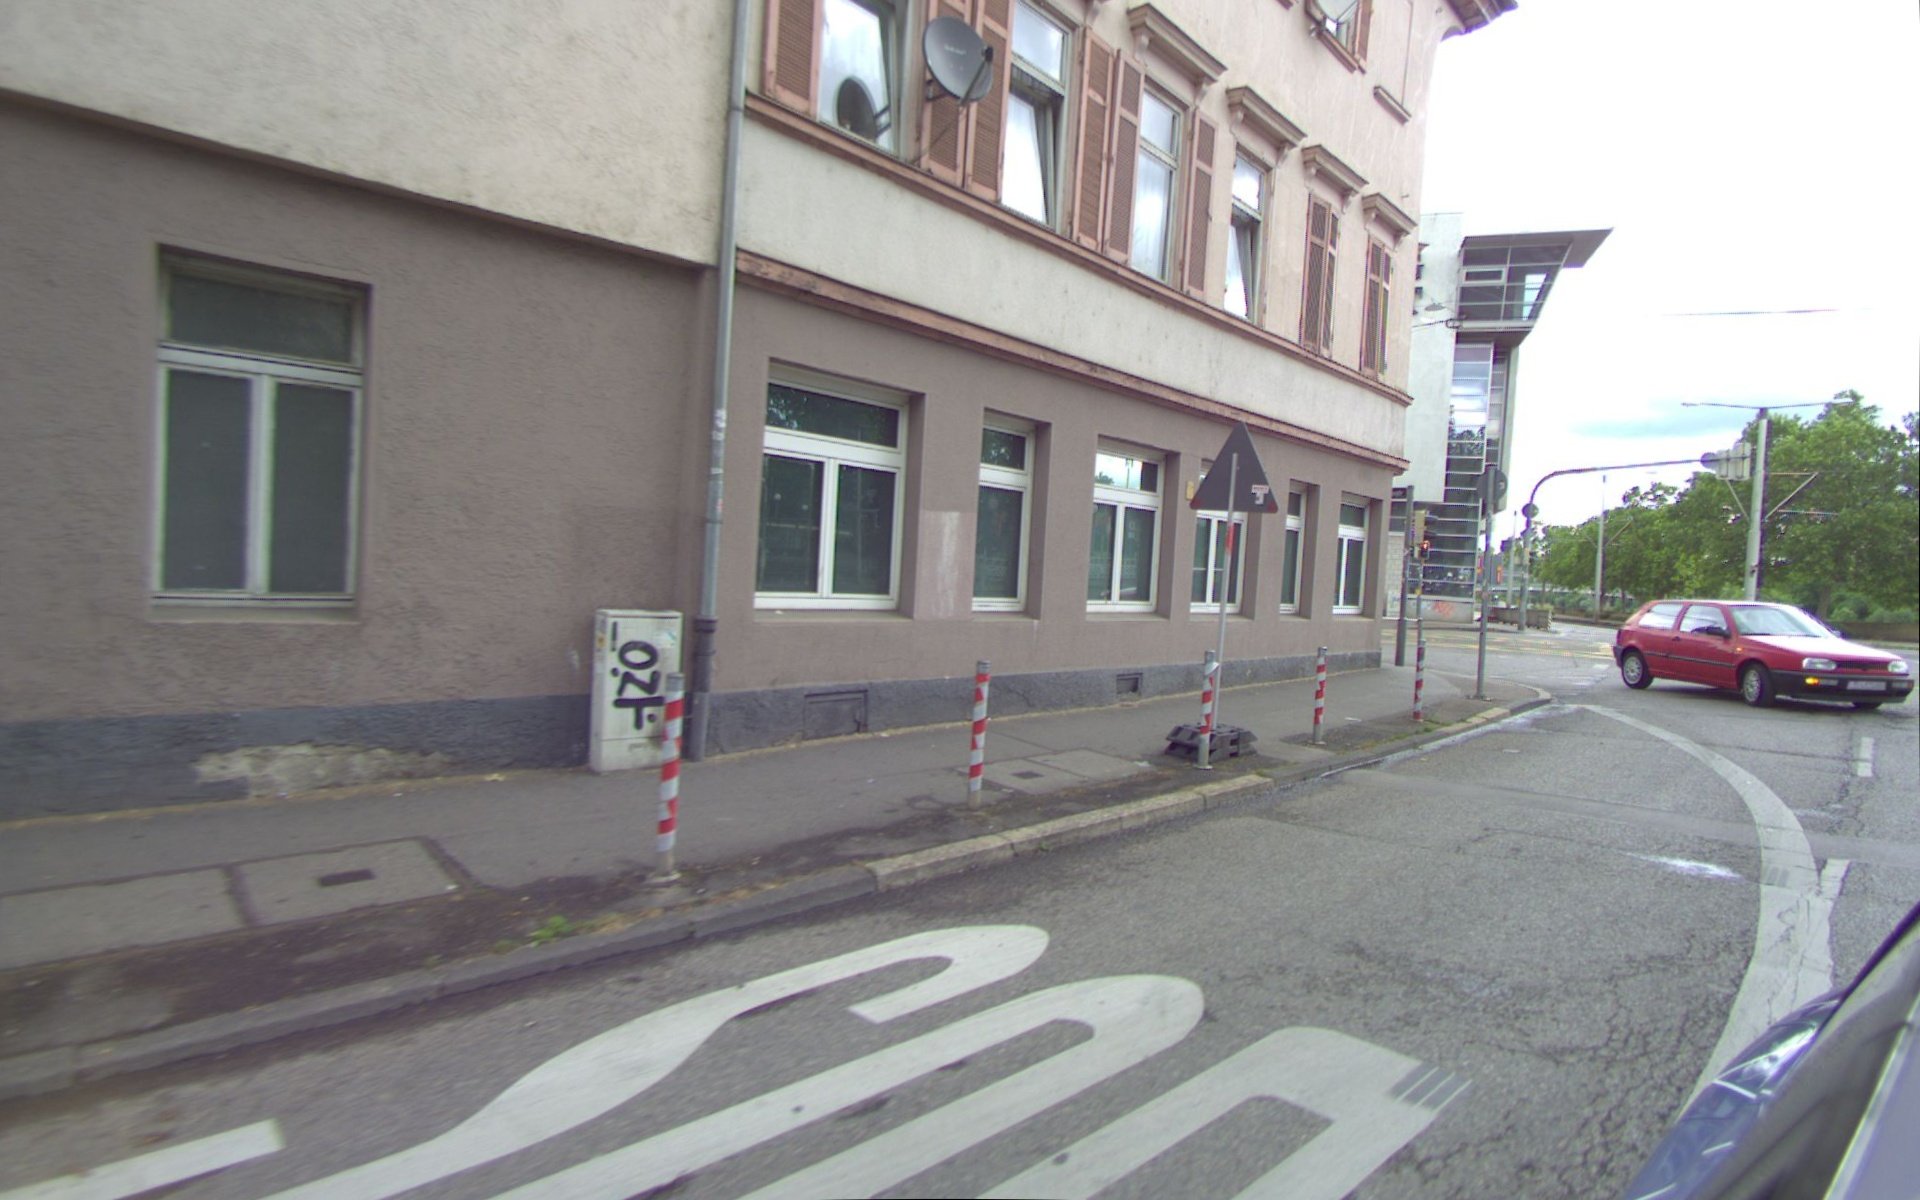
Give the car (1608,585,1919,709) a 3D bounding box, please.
[{"bbox_3d":[11.584,0.557,14.609,1.817,1.440,4.173,-1,2,1],"label":"car"}]
